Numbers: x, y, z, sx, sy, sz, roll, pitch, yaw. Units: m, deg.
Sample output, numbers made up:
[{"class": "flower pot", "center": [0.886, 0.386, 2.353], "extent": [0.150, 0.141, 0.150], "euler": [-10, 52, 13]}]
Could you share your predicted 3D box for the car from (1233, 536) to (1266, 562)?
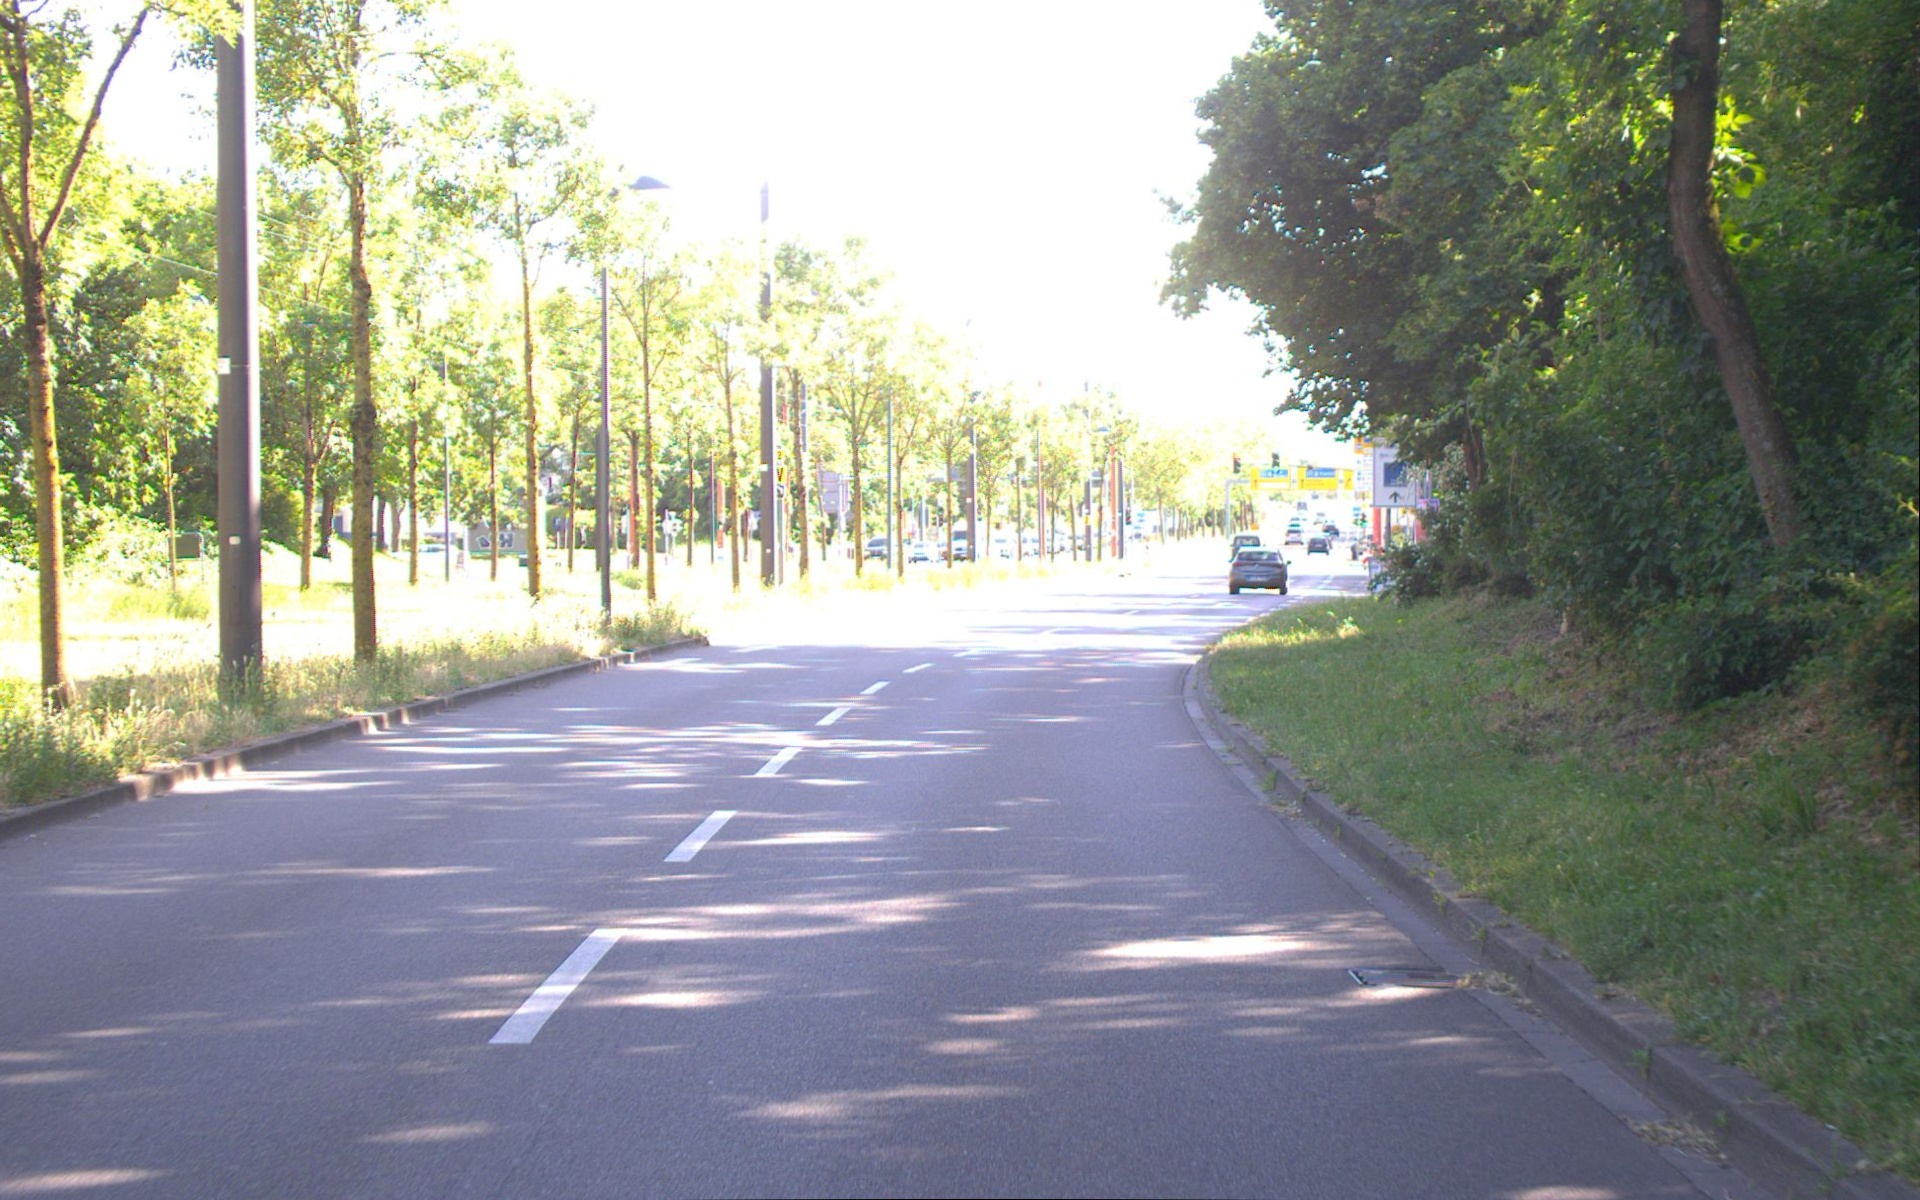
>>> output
[{"class": "car", "center": [16.562, -2.916, 196.597], "extent": [1.634, 1.493, 4.233], "euler": [1, 1, 7]}]

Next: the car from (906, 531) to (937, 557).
[{"class": "car", "center": [-2.554, -3.740, 229.106], "extent": [1.631, 1.675, 4.191], "euler": [1, 1, 5]}]

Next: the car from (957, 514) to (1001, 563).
[{"class": "car", "center": [1.291, -4.133, 233.728], "extent": [2.466, 3.228, 6.133], "euler": [1, 1, 5]}]

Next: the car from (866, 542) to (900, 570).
[{"class": "car", "center": [-4.710, -2.715, 211.221], "extent": [1.631, 1.675, 4.191], "euler": [1, 1, 5]}]

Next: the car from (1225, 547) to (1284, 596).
[{"class": "car", "center": [9.242, -0.910, 107.706], "extent": [1.634, 1.493, 4.233], "euler": [1, 1, 7]}]
